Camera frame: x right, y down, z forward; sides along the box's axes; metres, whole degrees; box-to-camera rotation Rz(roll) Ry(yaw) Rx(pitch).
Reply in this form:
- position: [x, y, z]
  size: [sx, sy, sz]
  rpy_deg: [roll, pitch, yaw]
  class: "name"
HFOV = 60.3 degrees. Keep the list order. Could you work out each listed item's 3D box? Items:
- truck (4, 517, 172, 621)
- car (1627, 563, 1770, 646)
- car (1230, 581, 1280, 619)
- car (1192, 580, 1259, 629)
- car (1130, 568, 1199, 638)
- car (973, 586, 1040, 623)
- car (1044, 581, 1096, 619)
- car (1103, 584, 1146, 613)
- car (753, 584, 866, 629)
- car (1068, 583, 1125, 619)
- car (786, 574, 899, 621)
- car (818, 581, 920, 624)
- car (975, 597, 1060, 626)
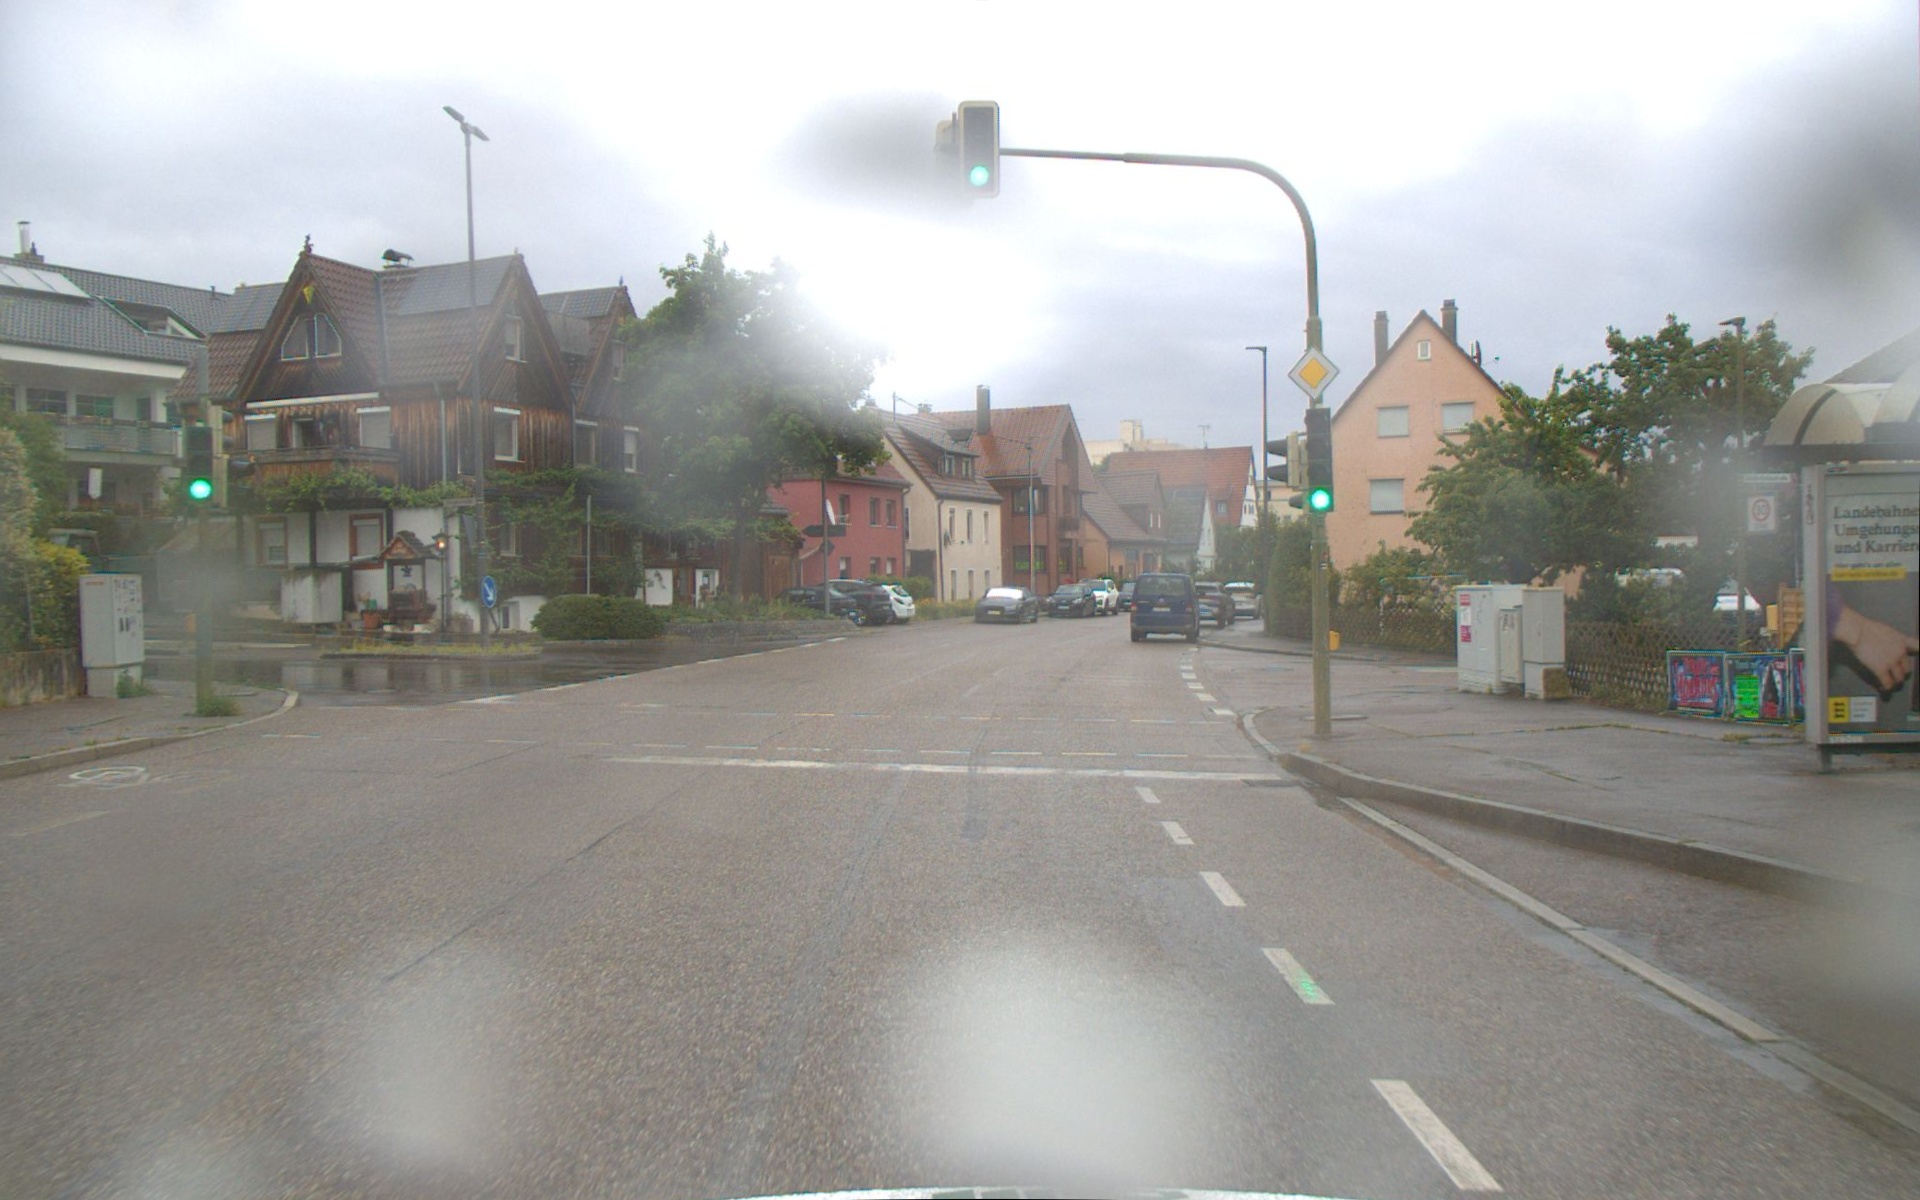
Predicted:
- position: [-23.498, -0.816, 44.714]
  size: [1.738, 2.658, 3.846]
  rpy_deg: [-1, 0, 19]
  class: "truck"
- position: [20.183, 0.071, 45.447]
  size: [1.904, 2.120, 5.188]
  rpy_deg: [1, 1, 4]
  class: "car"
- position: [13.112, -0.013, 73.307]
  size: [1.764, 1.623, 4.615]
  rpy_deg: [1, 0, 15]
  class: "car"
- position: [10.283, 0.147, 63.812]
  size: [1.868, 1.747, 4.558]
  rpy_deg: [1, 1, 18]
  class: "car"
- position: [6.088, 0.057, 49.066]
  size: [1.889, 1.935, 4.797]
  rpy_deg: [1, 0, 8]
  class: "car"
- position: [1.835, 0.144, 64.392]
  size: [1.592, 1.379, 4.113]
  rpy_deg: [1, 1, 16]
  class: "car"
- position: [4.981, 0.003, 74.344]
  size: [1.571, 1.646, 3.278]
  rpy_deg: [-1, 0, 18]
  class: "car"
- position: [8.794, -0.083, 88.117]
  size: [1.545, 1.523, 3.569]
  rpy_deg: [-1, 0, 18]
  class: "car"
- position: [-5.056, 0.225, 55.566]
  size: [3.374, 1.443, 1.633]
  rpy_deg: [-1, 0, 20]
  class: "car"
- position: [6.537, 0.020, 78.826]
  size: [1.727, 1.647, 4.659]
  rpy_deg: [-1, 0, 17]
  class: "car"
- position: [-4.152, -0.115, 58.572]
  size: [3.502, 1.532, 1.855]
  rpy_deg: [2, 1, 21]
  class: "car"
- position: [-3.350, 0.092, 60.783]
  size: [3.389, 1.505, 1.591]
  rpy_deg: [-1, 0, 20]
  class: "car"
- position: [3.004, 0.605, 86.433]
  size: [4.089, 1.427, 1.788]
  rpy_deg: [-1, 0, 25]
  class: "car"
